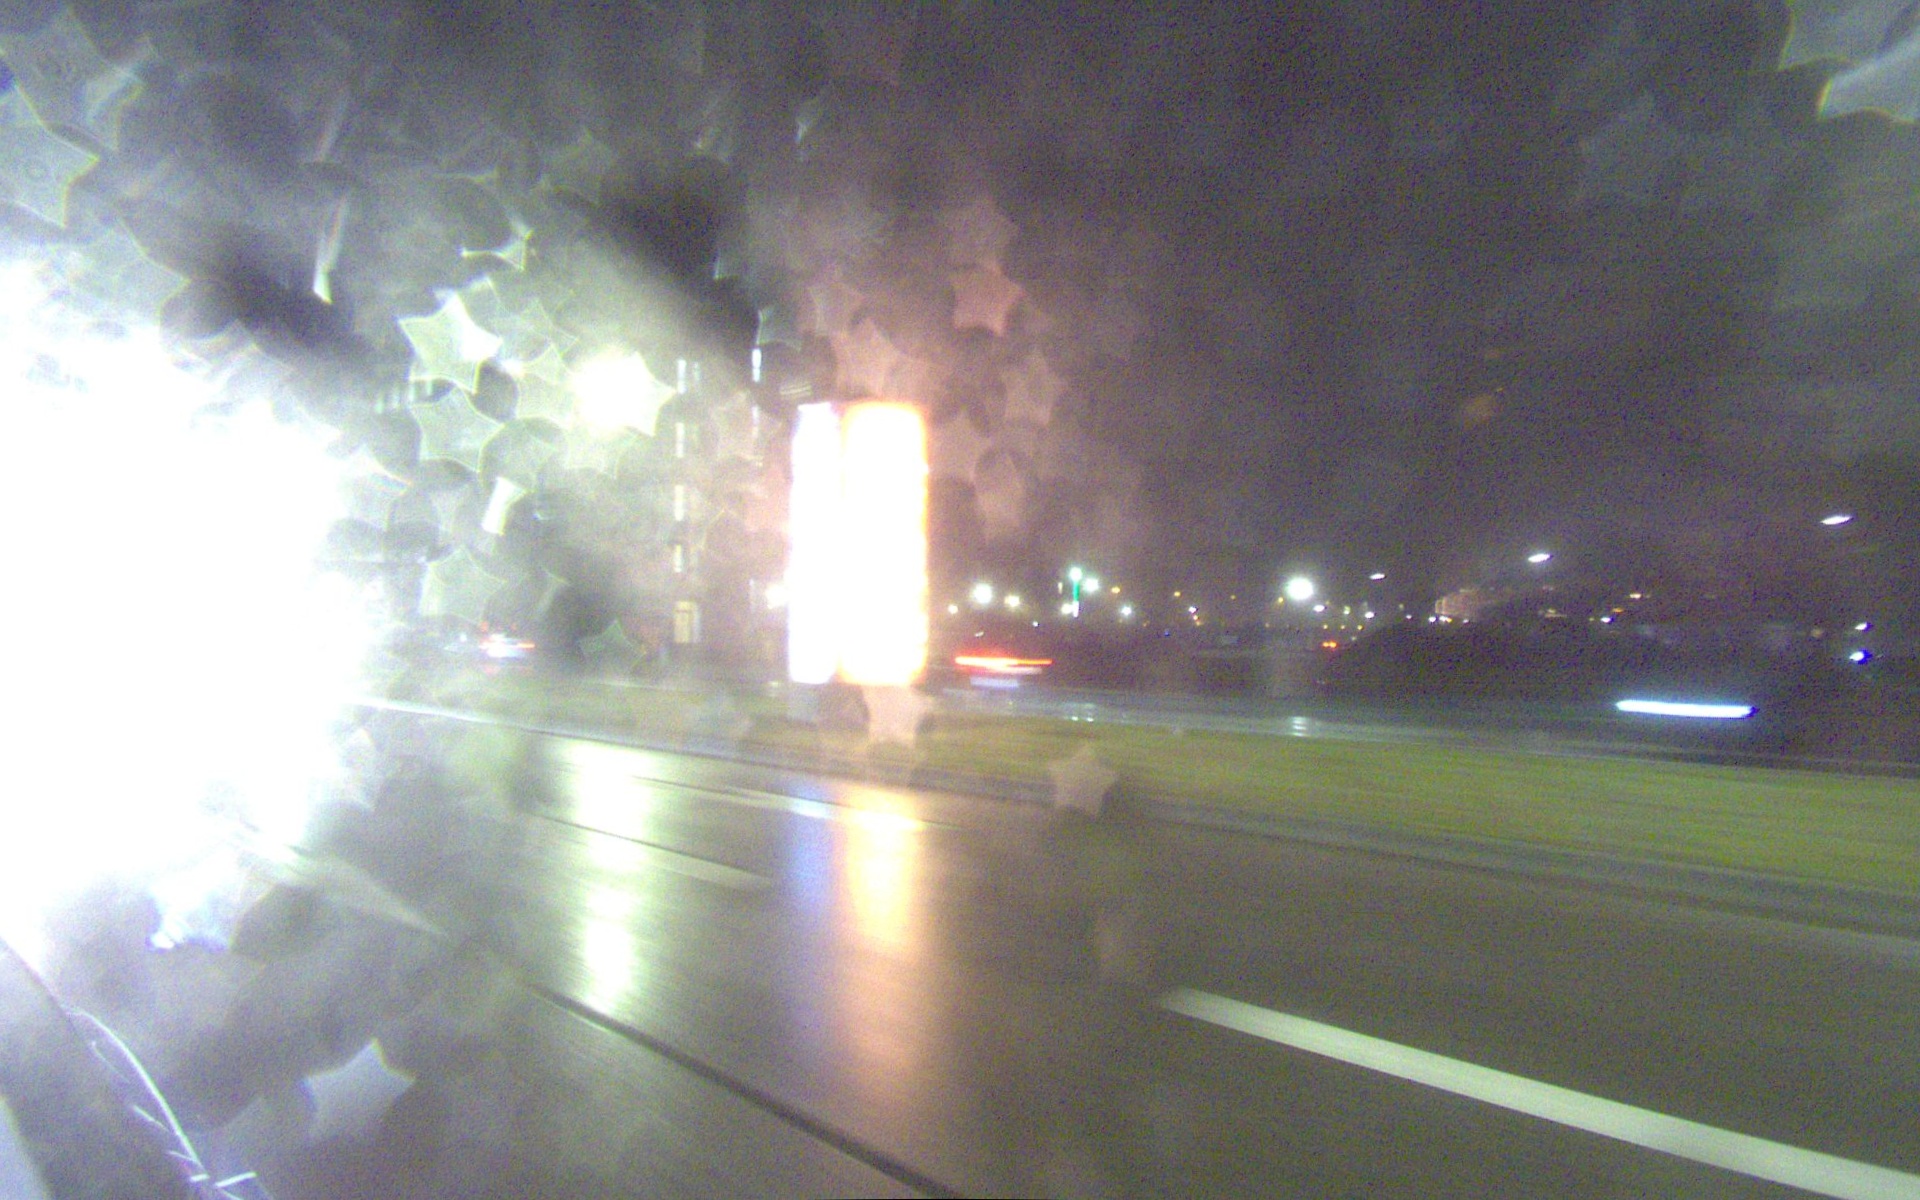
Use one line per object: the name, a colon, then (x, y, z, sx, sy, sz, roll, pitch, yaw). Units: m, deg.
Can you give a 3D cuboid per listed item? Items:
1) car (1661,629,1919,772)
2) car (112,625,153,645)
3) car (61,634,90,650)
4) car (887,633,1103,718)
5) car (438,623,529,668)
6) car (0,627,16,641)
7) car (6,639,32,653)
car: (10.708, 1.071, 11.243, 4.655, 1.475, 1.811, -1, -2, 39)
car: (-72.824, 3.086, 89.024, 4.545, 1.697, 2.003, -2, -2, 41)
car: (-94.394, 4.500, 107.993, 4.365, 1.605, 1.823, -2, -2, 43)
car: (0.627, 1.413, 20.001, 3.995, 1.475, 1.811, -1, -2, 39)
car: (-19.688, 1.842, 41.732, 4.438, 1.726, 1.810, -2, -2, 41)
car: (-100.181, 3.561, 105.777, 4.365, 1.498, 1.823, -2, -2, 43)
car: (-109.292, 5.346, 117.548, 4.365, 1.605, 1.823, -2, -2, 43)
